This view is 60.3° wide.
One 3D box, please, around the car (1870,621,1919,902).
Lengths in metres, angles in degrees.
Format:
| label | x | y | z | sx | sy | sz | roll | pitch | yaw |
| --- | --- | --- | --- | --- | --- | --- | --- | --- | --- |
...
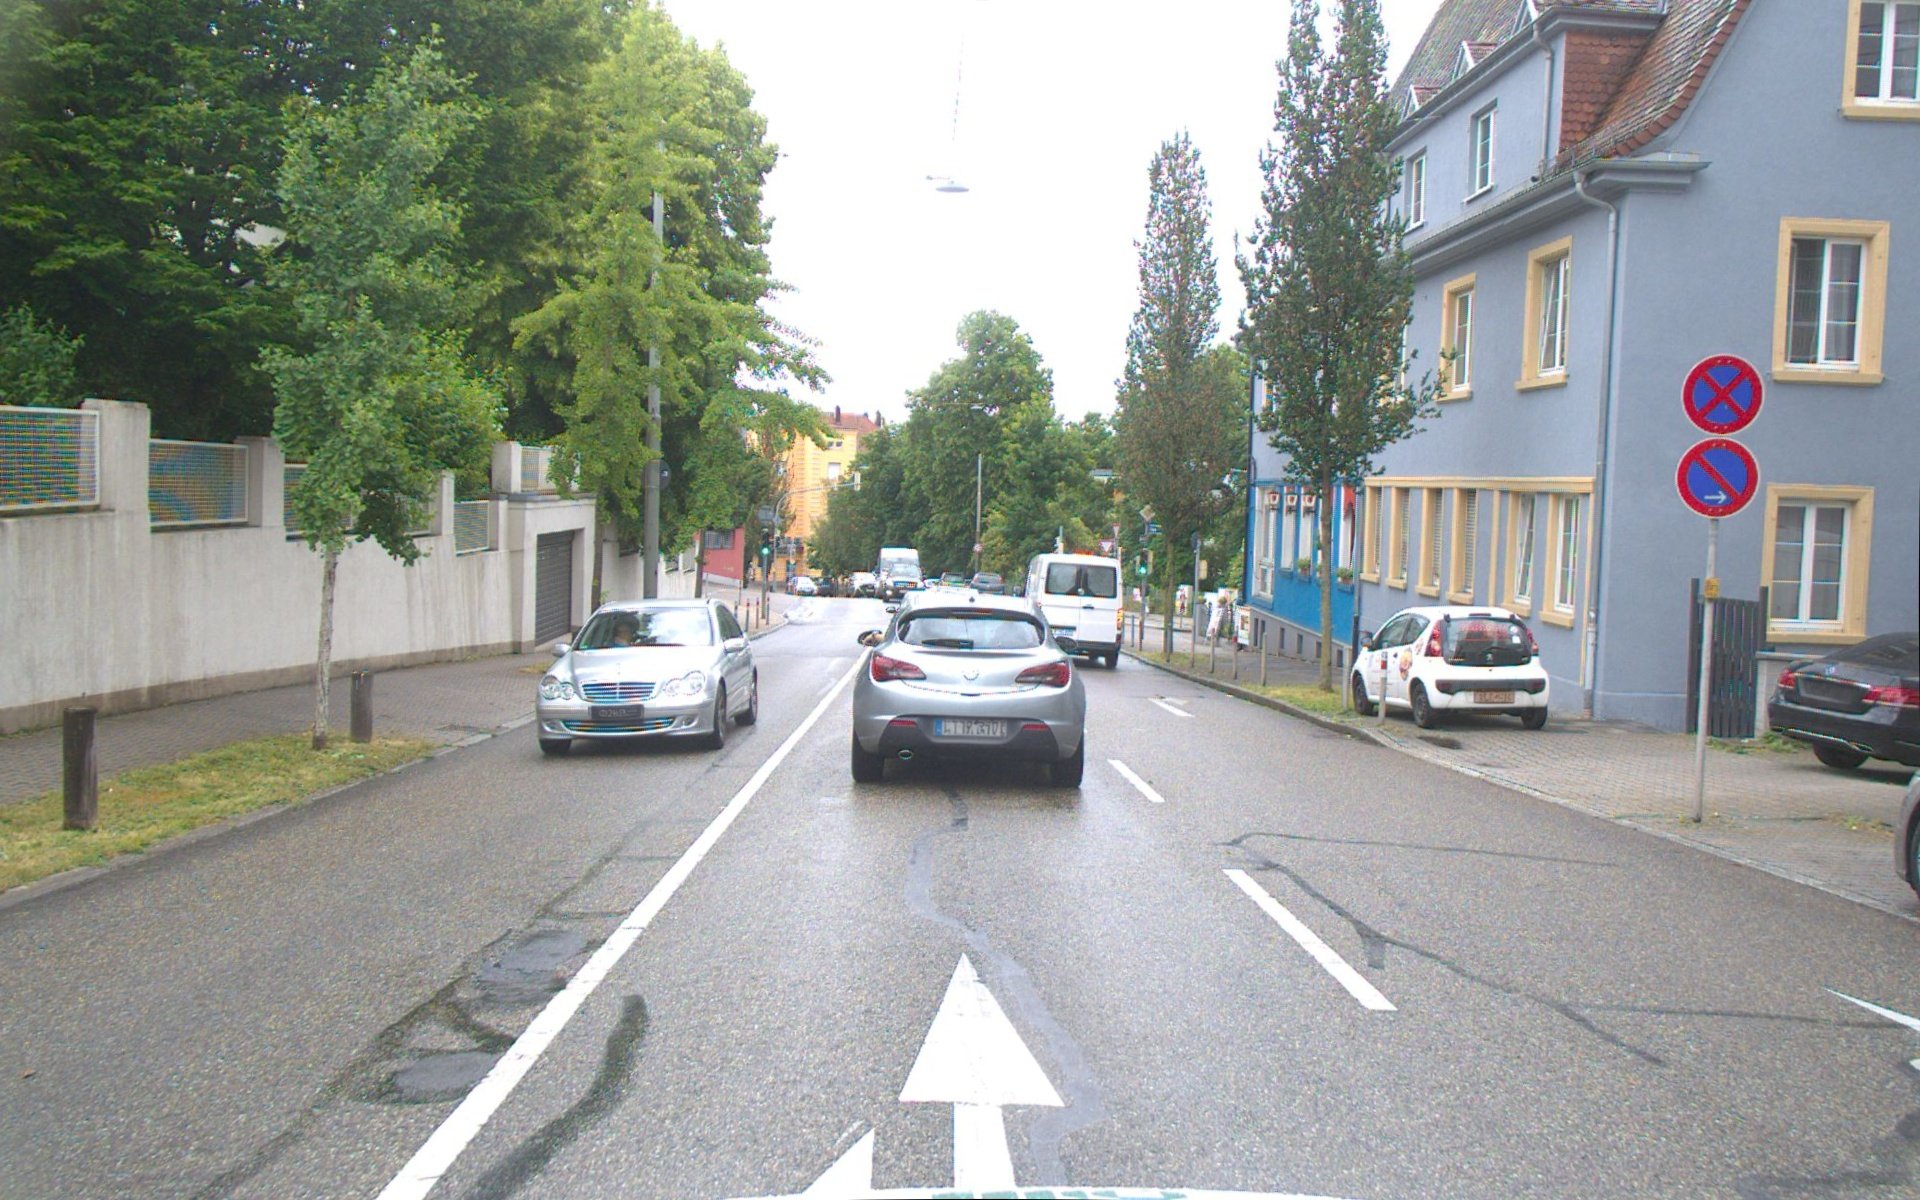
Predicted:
| label | x | y | z | sx | sy | sz | roll | pitch | yaw |
| --- | --- | --- | --- | --- | --- | --- | --- | --- | --- |
| car | 6.115 | 0.912 | 6.924 | 1.778 | 1.485 | 4.739 | 2 | 1 | -3 |

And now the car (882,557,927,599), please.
| label | x | y | z | sx | sy | sz | roll | pitch | yaw |
| --- | --- | --- | --- | --- | --- | --- | --- | --- | --- |
| car | -2.446 | -1.001 | 72.309 | 1.785 | 1.680 | 4.343 | 3 | 1 | -4 |

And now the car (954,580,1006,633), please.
| label | x | y | z | sx | sy | sz | roll | pitch | yaw |
| --- | --- | --- | --- | --- | --- | --- | --- | --- | --- |
| car | 0.543 | 0.165 | 47.386 | 1.355 | 1.436 | 3.455 | 1 | 1 | -2 |

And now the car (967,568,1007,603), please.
| label | x | y | z | sx | sy | sz | roll | pitch | yaw |
| --- | --- | --- | --- | --- | --- | --- | --- | --- | --- |
| car | 1.204 | -0.643 | 75.144 | 1.588 | 1.512 | 3.434 | 1 | 0 | -3 |

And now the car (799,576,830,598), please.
| label | x | y | z | sx | sy | sz | roll | pitch | yaw |
| --- | --- | --- | --- | --- | --- | --- | --- | --- | --- |
| car | -10.864 | -0.967 | 123.658 | 1.743 | 1.523 | 4.249 | 3 | 0 | -12 |

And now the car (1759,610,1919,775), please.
| label | x | y | z | sx | sy | sz | roll | pitch | yaw |
| --- | --- | --- | --- | --- | --- | --- | --- | --- | --- |
| car | 10.287 | 0.884 | 16.399 | 4.290 | 1.432 | 1.798 | 1 | 0 | -21 |

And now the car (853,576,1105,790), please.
| label | x | y | z | sx | sy | sz | roll | pitch | yaw |
| --- | --- | --- | --- | --- | --- | --- | --- | --- | --- |
| car | 0.107 | 0.578 | 14.042 | 1.778 | 1.454 | 4.000 | 2 | 1 | -1 |

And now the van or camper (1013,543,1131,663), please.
| label | x | y | z | sx | sy | sz | roll | pitch | yaw |
| --- | --- | --- | --- | --- | --- | --- | --- | --- | --- |
| van or camper | 2.432 | 0.032 | 37.176 | 2.061 | 2.366 | 5.416 | 3 | 0 | -1 |

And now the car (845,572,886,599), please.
| label | x | y | z | sx | sy | sz | roll | pitch | yaw |
| --- | --- | --- | --- | --- | --- | --- | --- | --- | --- |
| car | -5.848 | -0.898 | 102.027 | 1.842 | 1.602 | 4.573 | 2 | 0 | -11 |

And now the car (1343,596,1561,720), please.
| label | x | y | z | sx | sy | sz | roll | pitch | yaw |
| --- | --- | --- | --- | --- | --- | --- | --- | --- | --- |
| car | 6.286 | 0.684 | 21.489 | 1.555 | 1.436 | 3.453 | 0 | 1 | -5 |

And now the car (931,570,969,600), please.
| label | x | y | z | sx | sy | sz | roll | pitch | yaw |
| --- | --- | --- | --- | --- | --- | --- | --- | --- | --- |
| car | -0.526 | -0.783 | 88.256 | 1.590 | 1.512 | 3.430 | 1 | 0 | -7 |

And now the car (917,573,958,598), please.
| label | x | y | z | sx | sy | sz | roll | pitch | yaw |
| --- | --- | --- | --- | --- | --- | --- | --- | --- | --- |
| car | -1.521 | -0.929 | 110.160 | 1.785 | 1.521 | 3.985 | -4 | 1 | -14 |

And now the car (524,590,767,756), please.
| label | x | y | z | sx | sy | sz | roll | pitch | yaw |
| --- | --- | --- | --- | --- | --- | --- | --- | --- | --- |
| car | -3.045 | 0.632 | 16.829 | 1.684 | 1.409 | 4.284 | -2 | 1 | -1 |

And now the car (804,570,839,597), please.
| label | x | y | z | sx | sy | sz | roll | pitch | yaw |
| --- | --- | --- | --- | --- | --- | --- | --- | --- | --- |
| car | -11.044 | -1.310 | 131.465 | 1.961 | 2.049 | 3.982 | 2 | 0 | -16 |

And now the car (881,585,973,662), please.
| label | x | y | z | sx | sy | sz | roll | pitch | yaw |
| --- | --- | --- | --- | --- | --- | --- | --- | --- | --- |
| car | -0.667 | 0.433 | 33.315 | 1.740 | 1.455 | 3.785 | 1 | 0 | -1 |

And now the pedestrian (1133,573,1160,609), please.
| label | x | y | z | sx | sy | sz | roll | pitch | yaw |
| --- | --- | --- | --- | --- | --- | --- | --- | --- | --- |
| pedestrian | 8.560 | -0.398 | 75.900 | 0.759 | 1.633 | 0.954 | -1 | 1 | -35 |

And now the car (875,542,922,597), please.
| label | x | y | z | sx | sy | sz | roll | pitch | yaw |
| --- | --- | --- | --- | --- | --- | --- | --- | --- | --- |
| car | -3.079 | -1.483 | 81.917 | 2.076 | 2.590 | 5.535 | 1 | 0 | -4 |
